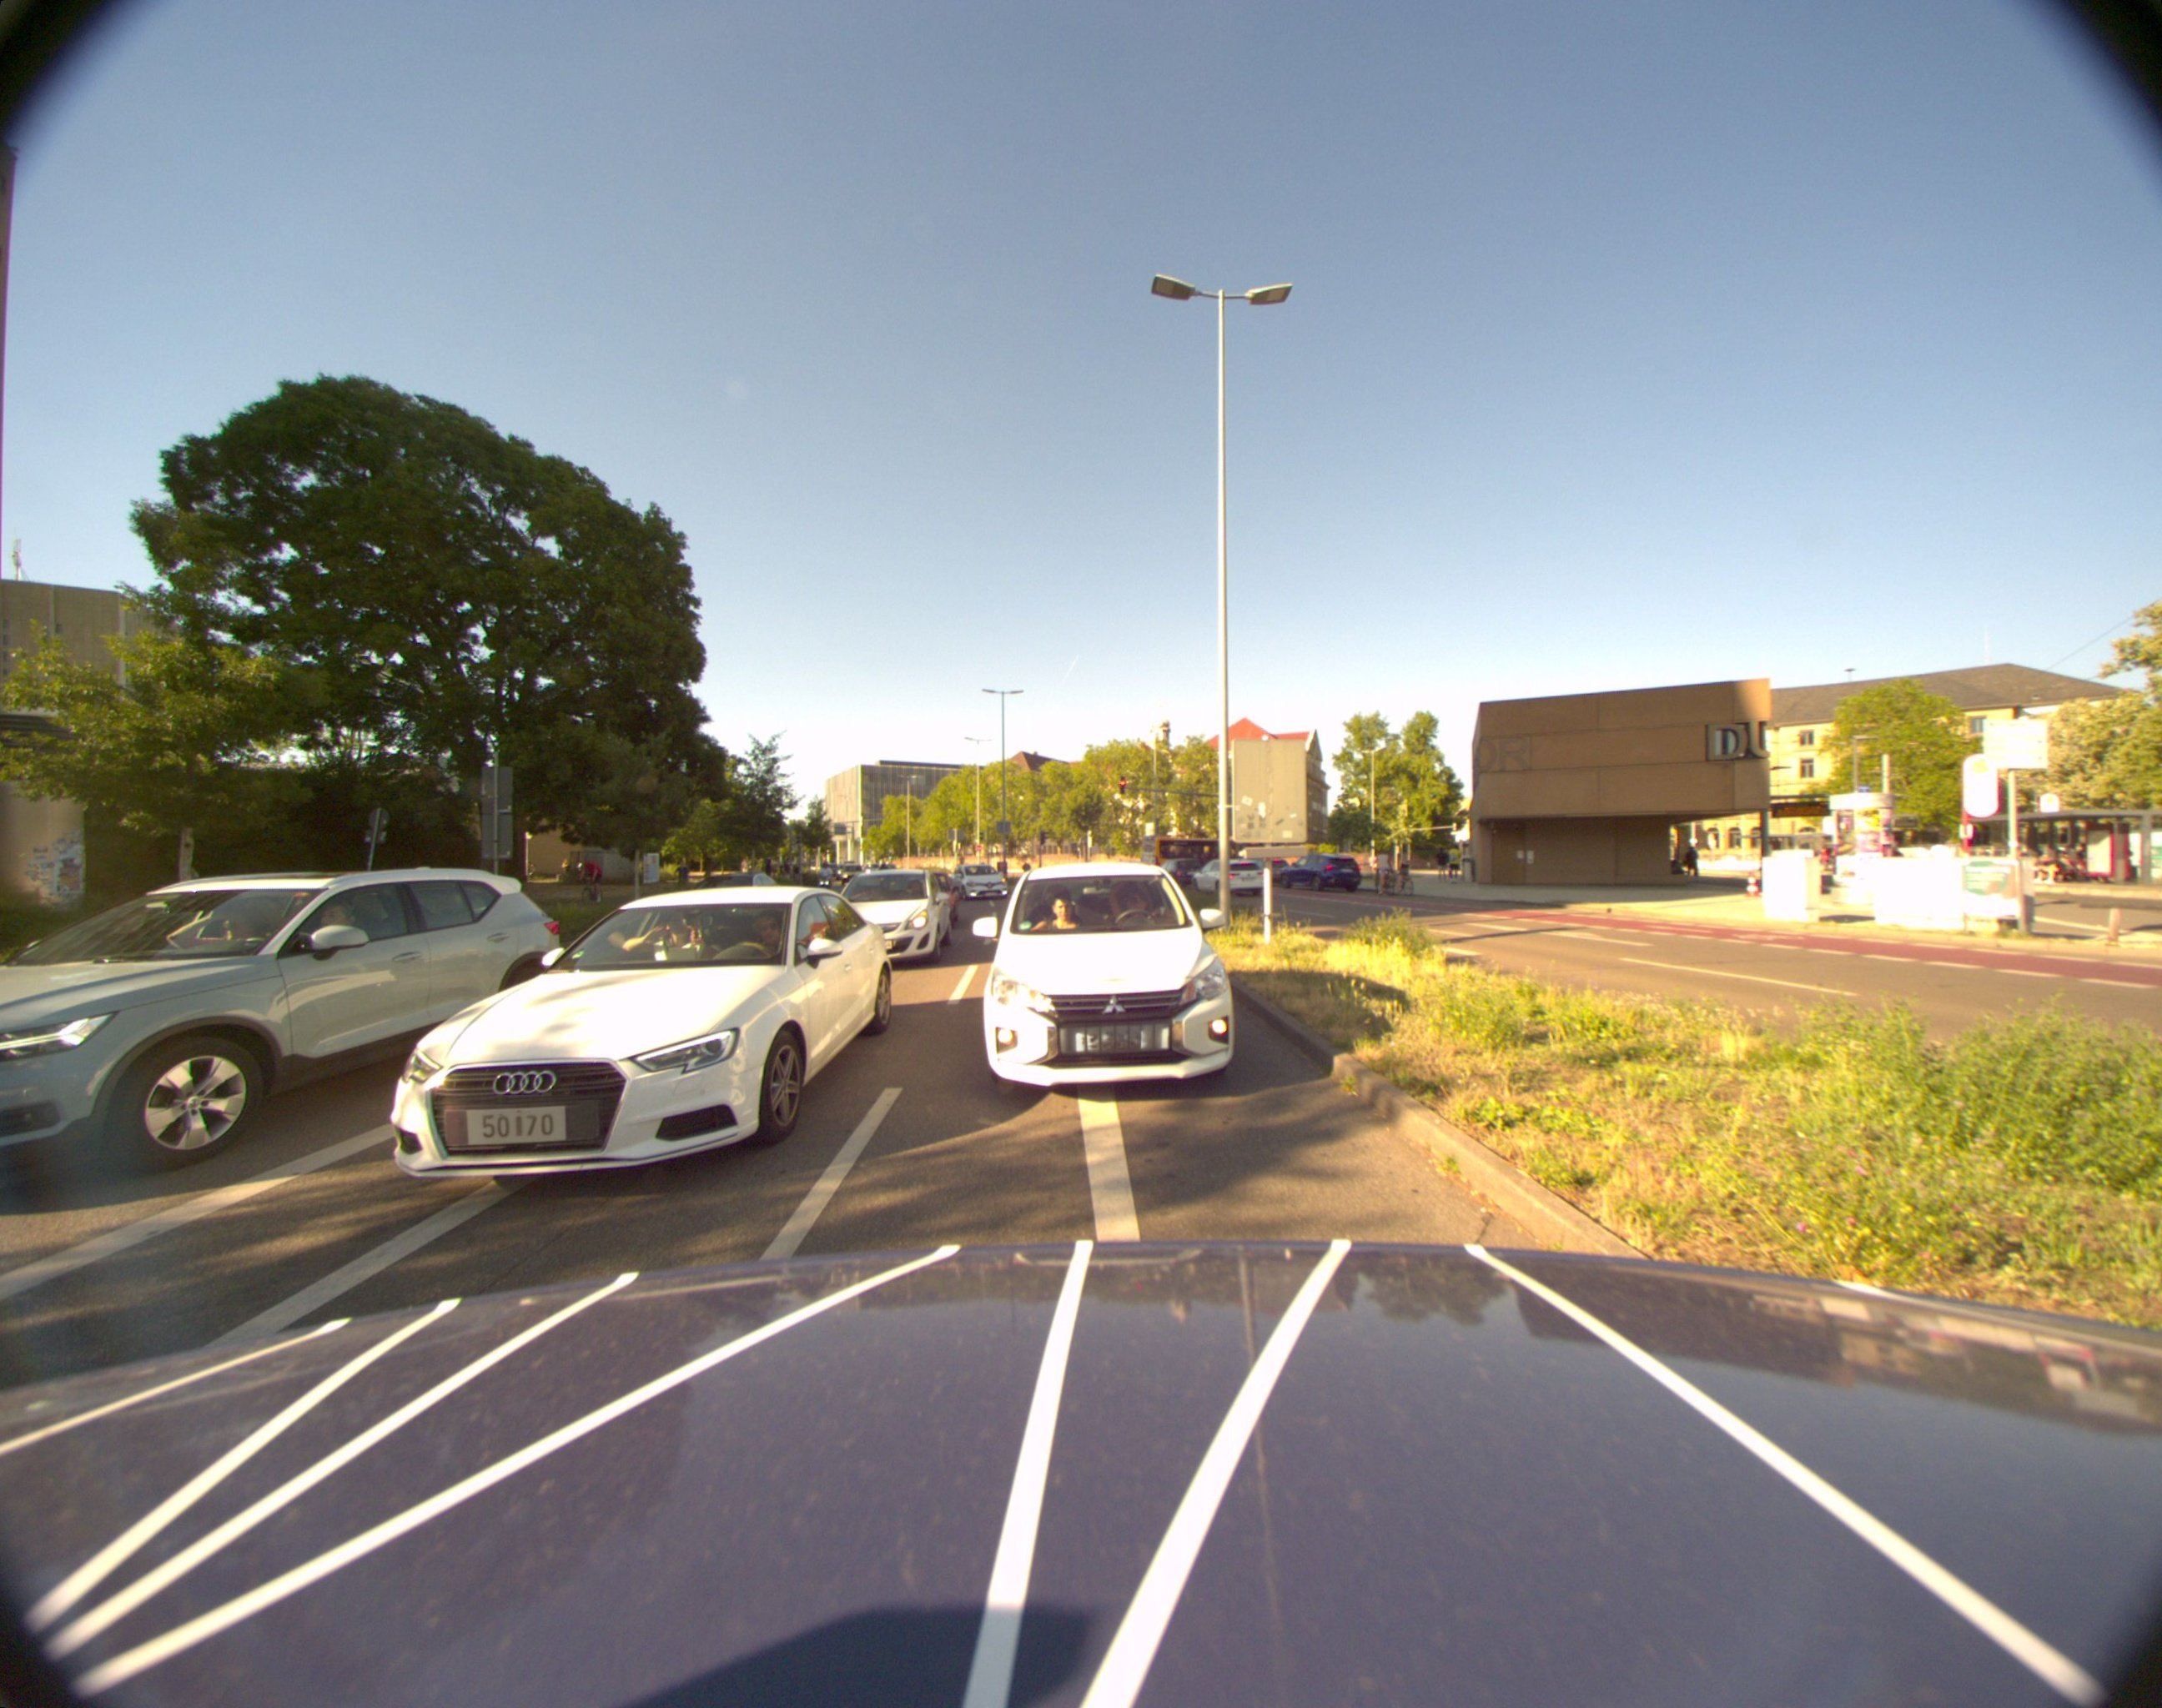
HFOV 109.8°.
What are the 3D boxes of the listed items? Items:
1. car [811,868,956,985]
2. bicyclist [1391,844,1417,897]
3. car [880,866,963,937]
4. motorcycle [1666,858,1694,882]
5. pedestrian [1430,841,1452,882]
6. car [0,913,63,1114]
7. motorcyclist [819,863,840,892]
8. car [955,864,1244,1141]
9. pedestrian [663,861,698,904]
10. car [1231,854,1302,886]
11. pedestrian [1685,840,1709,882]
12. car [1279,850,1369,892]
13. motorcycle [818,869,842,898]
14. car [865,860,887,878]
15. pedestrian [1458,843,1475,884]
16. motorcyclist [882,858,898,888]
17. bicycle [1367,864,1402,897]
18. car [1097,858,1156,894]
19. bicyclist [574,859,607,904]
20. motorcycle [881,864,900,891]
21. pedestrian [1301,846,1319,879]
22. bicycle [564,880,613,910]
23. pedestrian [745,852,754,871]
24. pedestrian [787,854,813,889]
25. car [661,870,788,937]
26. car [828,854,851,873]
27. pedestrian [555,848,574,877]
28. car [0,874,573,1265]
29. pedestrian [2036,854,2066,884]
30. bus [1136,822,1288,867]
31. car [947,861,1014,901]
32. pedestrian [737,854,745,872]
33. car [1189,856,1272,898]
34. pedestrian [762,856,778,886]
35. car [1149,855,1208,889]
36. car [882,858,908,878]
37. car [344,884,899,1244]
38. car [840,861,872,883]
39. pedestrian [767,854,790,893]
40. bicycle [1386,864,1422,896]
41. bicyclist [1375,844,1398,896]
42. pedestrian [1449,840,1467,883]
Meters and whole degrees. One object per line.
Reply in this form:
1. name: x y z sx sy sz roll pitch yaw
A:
1. car: -3.070 1.046 12.587 1.628 1.451 4.039 -2 1 -5
2. bicyclist: 12.481 0.640 29.403 0.611 2.002 0.708 -1 1 -15
3. car: -3.893 1.094 19.104 1.628 1.451 4.039 -2 1 -7
4. motorcycle: 26.214 0.703 33.246 0.948 1.061 0.331 -1 1 39
5. pedestrian: 17.773 0.371 37.555 0.777 2.002 0.773 -2 1 13
6. car: -8.754 1.238 3.890 1.628 1.451 4.040 -2 1 -2
7. motorcyclist: -11.977 1.105 36.226 0.718 1.297 0.735 -2 1 -4
8. car: 0.059 0.891 6.440 1.628 1.451 4.040 -2 1 -2
9. pedestrian: -16.542 1.153 31.408 1.010 1.711 0.884 -2 1 -10
10. car: 9.432 0.786 39.008 1.850 1.483 4.388 1 0 -10
11. pedestrian: 30.296 0.335 37.380 0.780 2.002 0.771 -3 2 -42
12. car: 10.472 0.698 33.118 1.757 1.680 4.183 -1 0 -14
13. motorcycle: -11.956 1.385 36.293 0.718 1.297 2.233 -2 1 -9
14. car: -20.814 1.473 77.163 1.748 1.696 3.993 -1 0 -21
15. pedestrian: 19.135 0.449 37.743 0.655 2.002 0.469 -2 1 20
16. motorcyclist: -10.165 0.996 40.371 0.711 1.581 0.689 -2 1 -9
17. bicycle: 11.729 1.009 29.371 0.464 1.185 1.395 -3 1 -17
18. car: 2.056 0.989 35.832 1.757 1.451 4.184 -2 1 -11
19. bicyclist: -17.870 0.987 27.695 0.617 1.551 0.870 -2 1 -8
20. motorcycle: -10.177 1.238 40.602 0.718 1.297 2.233 -2 1 -9
21. pedestrian: 13.002 0.472 43.158 0.797 1.886 0.612 0 1 40
22. bicycle: -17.842 1.459 27.600 0.660 0.958 2.033 0 1 -7
23. pedestrian: -27.864 0.608 63.889 0.548 1.597 0.603 -3 1 -19
24. pedestrian: -16.740 1.005 45.330 1.143 2.002 1.285 -2 1 -10
25. car: -9.604 1.267 20.856 1.756 1.451 4.186 -2 1 -5
26. car: -22.486 0.890 70.613 1.748 1.696 3.993 -1 0 -21
27. pedestrian: -36.944 0.603 54.380 0.929 2.002 0.754 -3 1 -27
28. car: -5.746 1.050 5.265 1.628 1.611 4.223 -2 1 -2
29. pedestrian: 39.010 0.608 30.561 0.539 1.180 0.659 -2 1 29
30. bus: 10.989 -0.839 63.245 12.556 3.193 3.081 -2 1 -21
31. car: -4.208 1.058 31.382 1.758 1.451 4.181 -3 1 -21
32. pedestrian: -28.466 0.761 63.632 0.548 1.521 0.603 -3 1 -19
33. car: 6.057 0.886 31.344 1.850 1.483 4.388 -2 1 -10
34. pedestrian: -16.826 0.939 41.153 0.596 1.585 0.594 -2 1 -8
35. car: 4.734 0.840 37.388 1.756 1.451 4.185 -2 1 -9
36. car: -15.516 1.146 63.255 1.748 1.536 3.993 -1 0 -20
37. car: -2.550 1.033 5.398 1.628 1.396 3.832 -2 1 -2
38. car: -16.417 1.285 55.563 1.746 1.516 3.996 -1 0 -9
39. pedestrian: -16.067 1.034 40.400 0.895 2.002 0.881 -2 1 -10
40. bicycle: 12.490 0.979 29.452 0.464 1.185 1.395 -3 1 -17
41. bicyclist: 11.765 0.606 29.293 0.611 2.002 0.565 -1 1 -15
42. pedestrian: 17.588 0.348 35.492 0.655 2.002 0.469 -2 1 20
